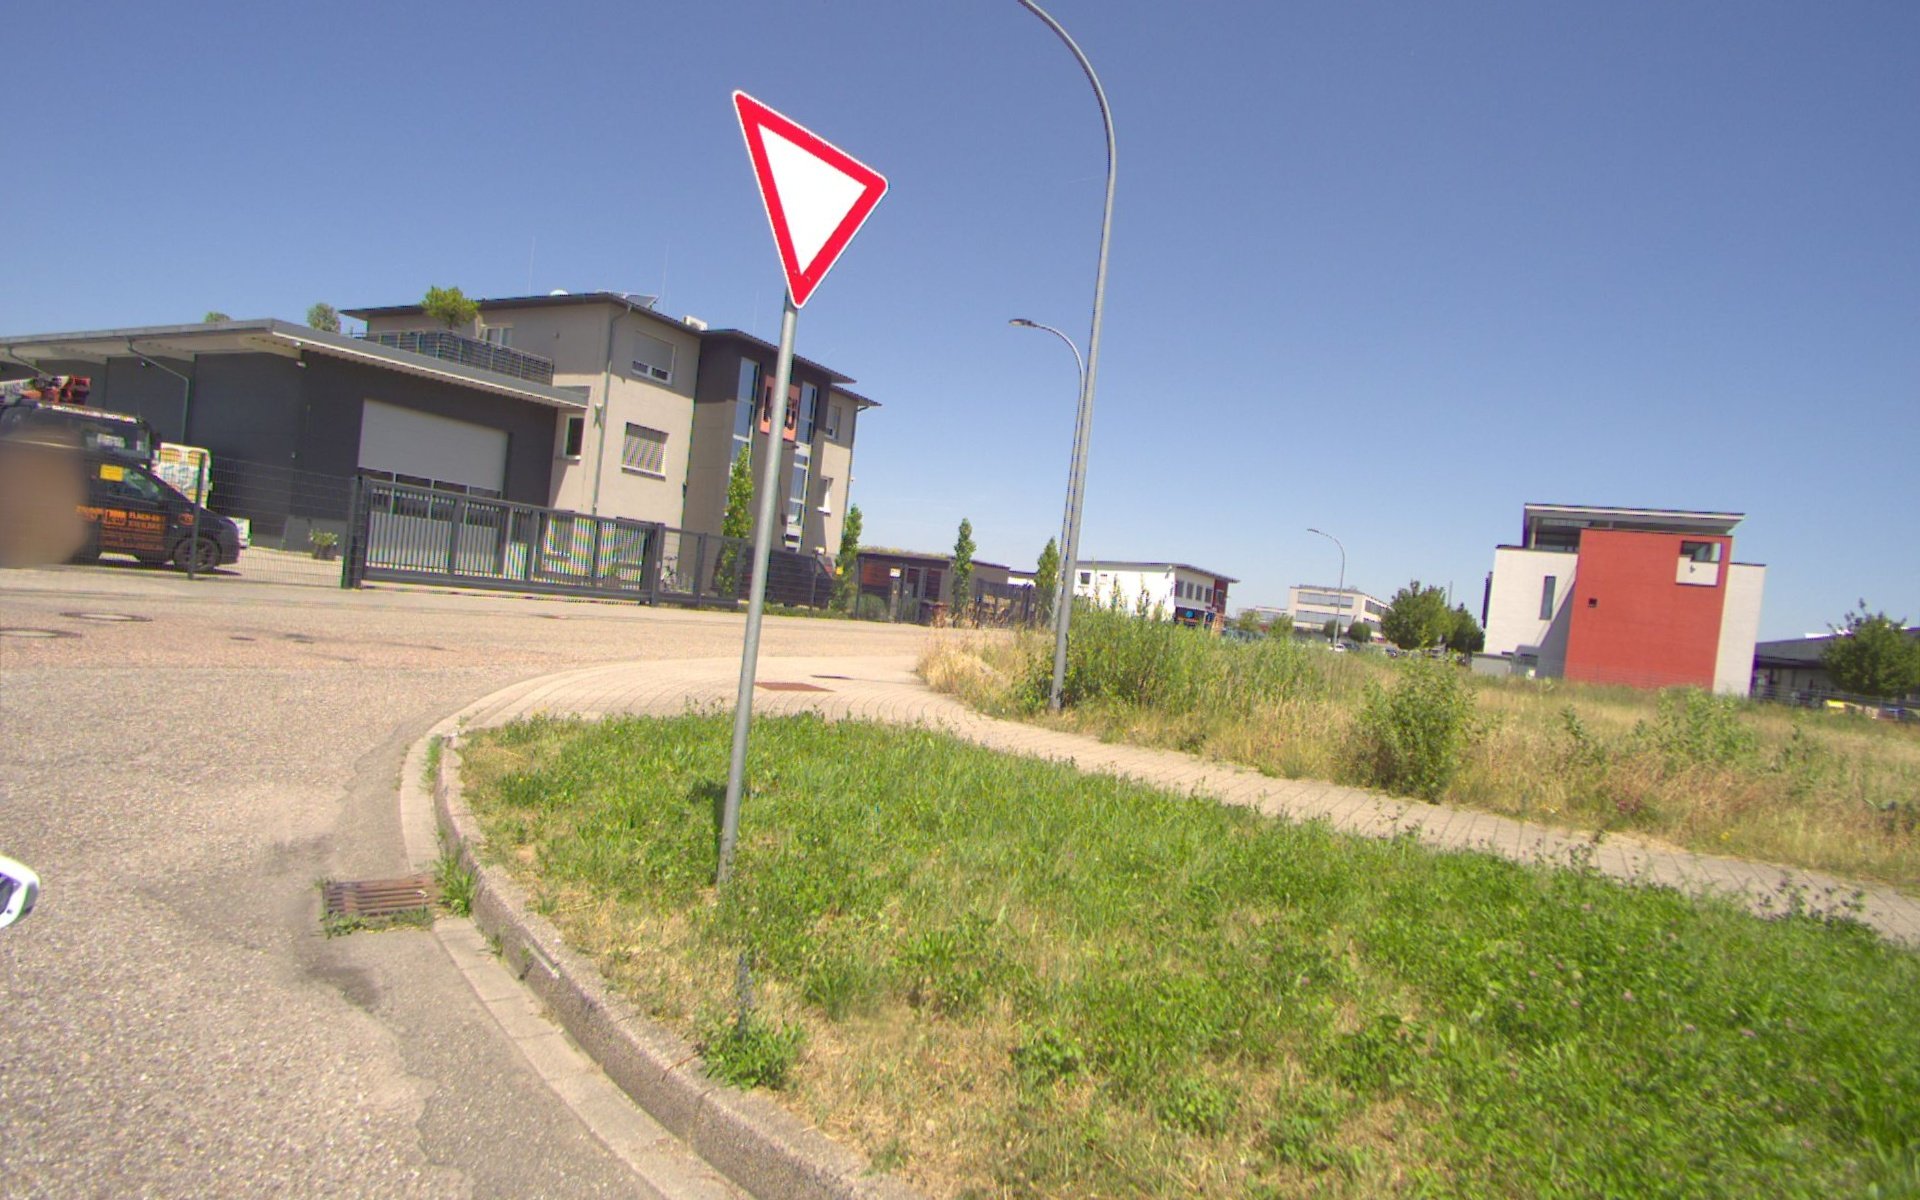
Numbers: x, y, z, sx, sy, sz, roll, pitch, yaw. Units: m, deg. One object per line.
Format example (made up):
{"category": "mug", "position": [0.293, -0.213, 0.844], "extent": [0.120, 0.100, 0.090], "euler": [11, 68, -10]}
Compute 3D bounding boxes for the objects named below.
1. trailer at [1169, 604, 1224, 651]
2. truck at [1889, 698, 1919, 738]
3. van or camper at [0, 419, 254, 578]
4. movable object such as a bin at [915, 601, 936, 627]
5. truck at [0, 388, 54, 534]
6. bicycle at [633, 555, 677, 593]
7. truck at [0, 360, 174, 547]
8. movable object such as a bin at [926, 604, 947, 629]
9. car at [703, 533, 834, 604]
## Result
{"category": "trailer", "position": [15.104, 1.807, 64.106], "extent": [2.194, 2.633, 3.992], "euler": [7, 1, 29]}
{"category": "truck", "position": [53.817, 6.657, 55.960], "extent": [1.966, 2.039, 4.347], "euler": [7, 1, 30]}
{"category": "van or camper", "position": [-15.151, -1.743, 16.855], "extent": [1.966, 2.191, 4.942], "euler": [8, 1, 30]}
{"category": "movable object such as a bin", "position": [-1.286, 0.510, 37.189], "extent": [0.552, 0.896, 0.435], "euler": [7, 2, 32]}
{"category": "truck", "position": [-30.151, -4.320, 29.681], "extent": [6.818, 3.979, 2.925], "euler": [7, 1, 30]}
{"category": "bicycle", "position": [-10.562, -0.889, 34.886], "extent": [0.436, 1.200, 1.807], "euler": [7, 1, 16]}
{"category": "truck", "position": [-23.724, -3.761, 25.931], "extent": [6.818, 3.979, 2.925], "euler": [7, 1, 30]}
{"category": "movable object such as a bin", "position": [-0.869, 0.621, 37.912], "extent": [0.552, 0.896, 0.435], "euler": [7, 2, 32]}
{"category": "car", "position": [-6.289, -0.999, 33.438], "extent": [1.966, 1.891, 3.991], "euler": [7, 1, 30]}
